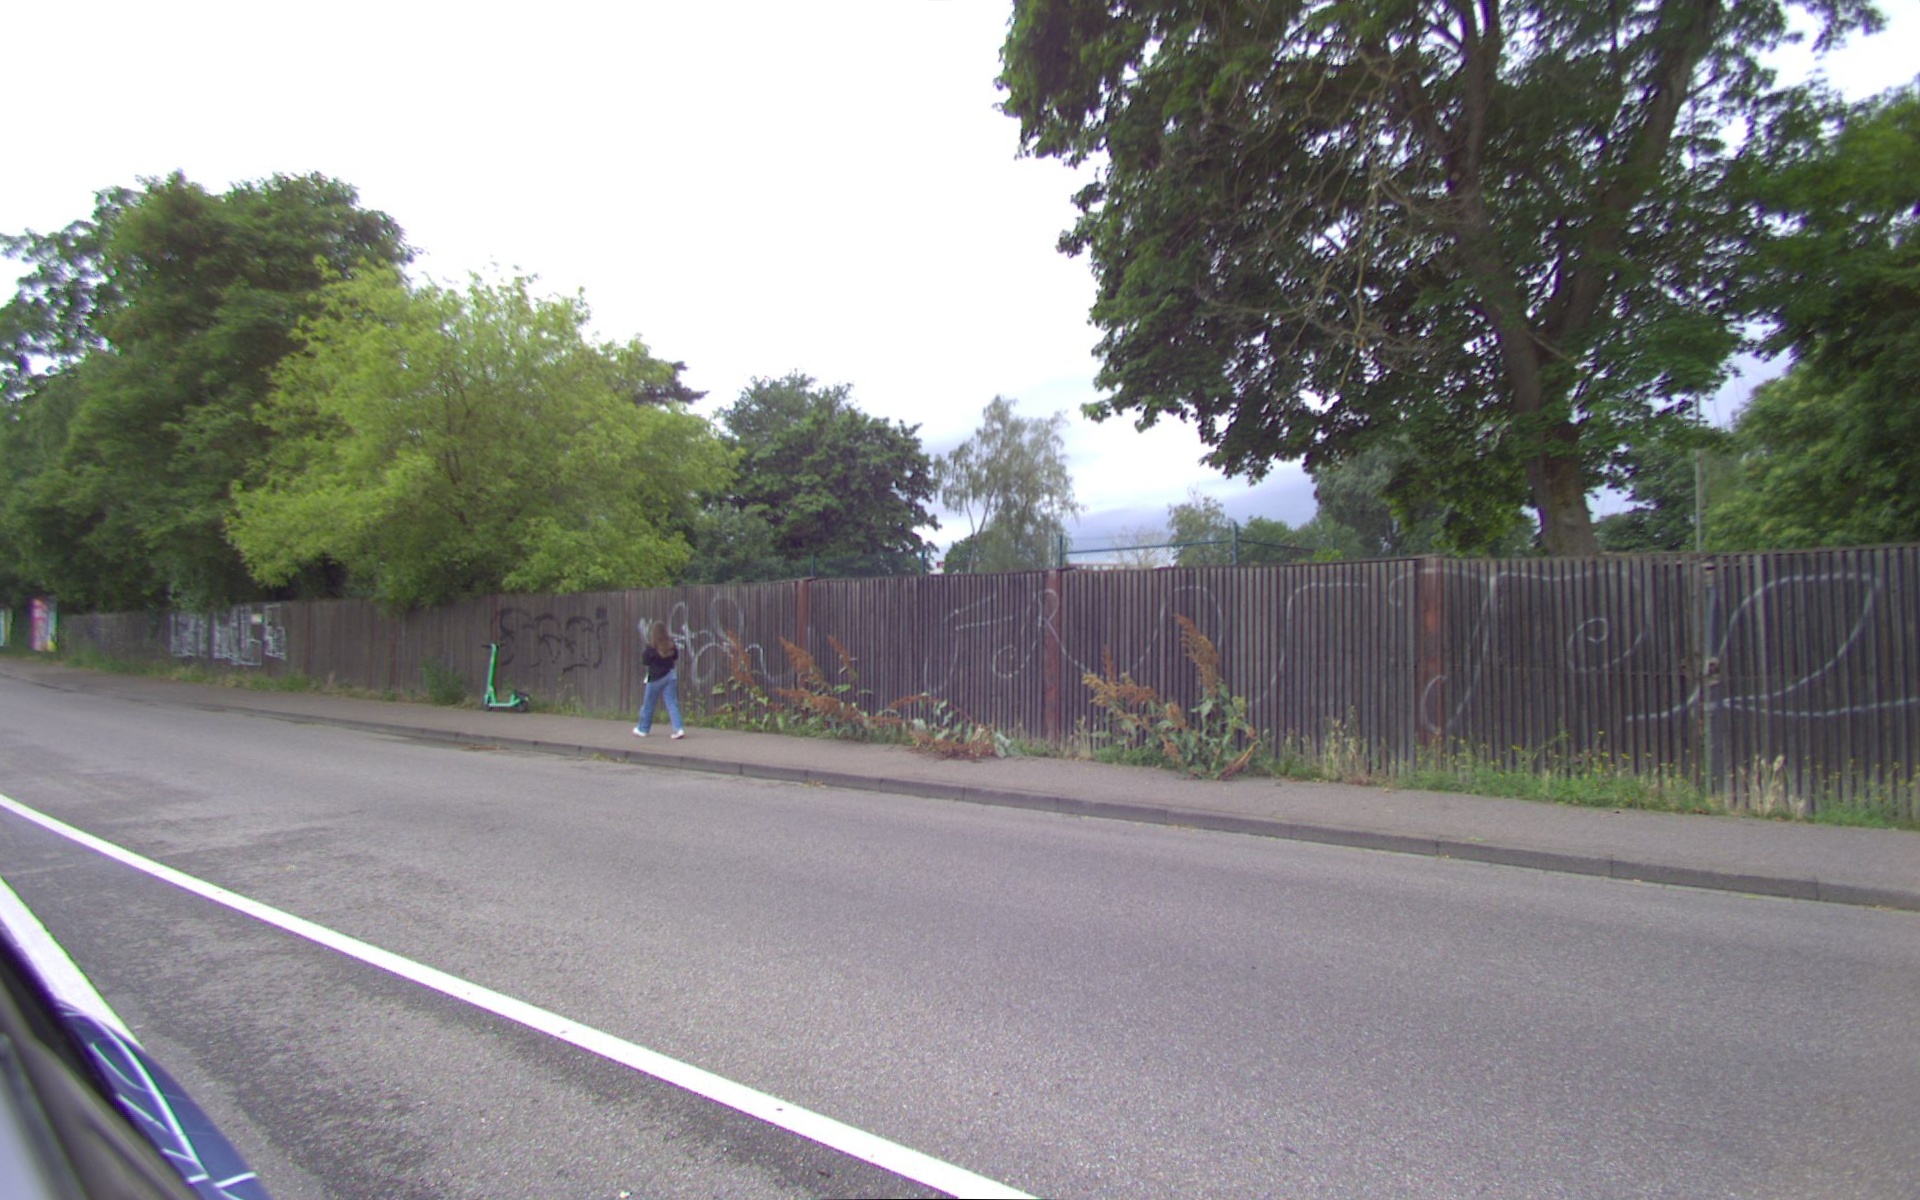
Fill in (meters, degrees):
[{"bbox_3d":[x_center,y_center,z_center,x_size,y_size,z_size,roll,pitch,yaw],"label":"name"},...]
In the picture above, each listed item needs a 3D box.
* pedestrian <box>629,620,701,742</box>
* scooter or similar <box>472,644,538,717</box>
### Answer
[{"bbox_3d":[-3.857,1.032,13.239,0.723,1.541,0.606,-2,-2,36],"label":"pedestrian"},{"bbox_3d":[-7.674,1.335,17.039,1.301,1.179,0.419,-2,-2,36],"label":"scooter or similar"}]
